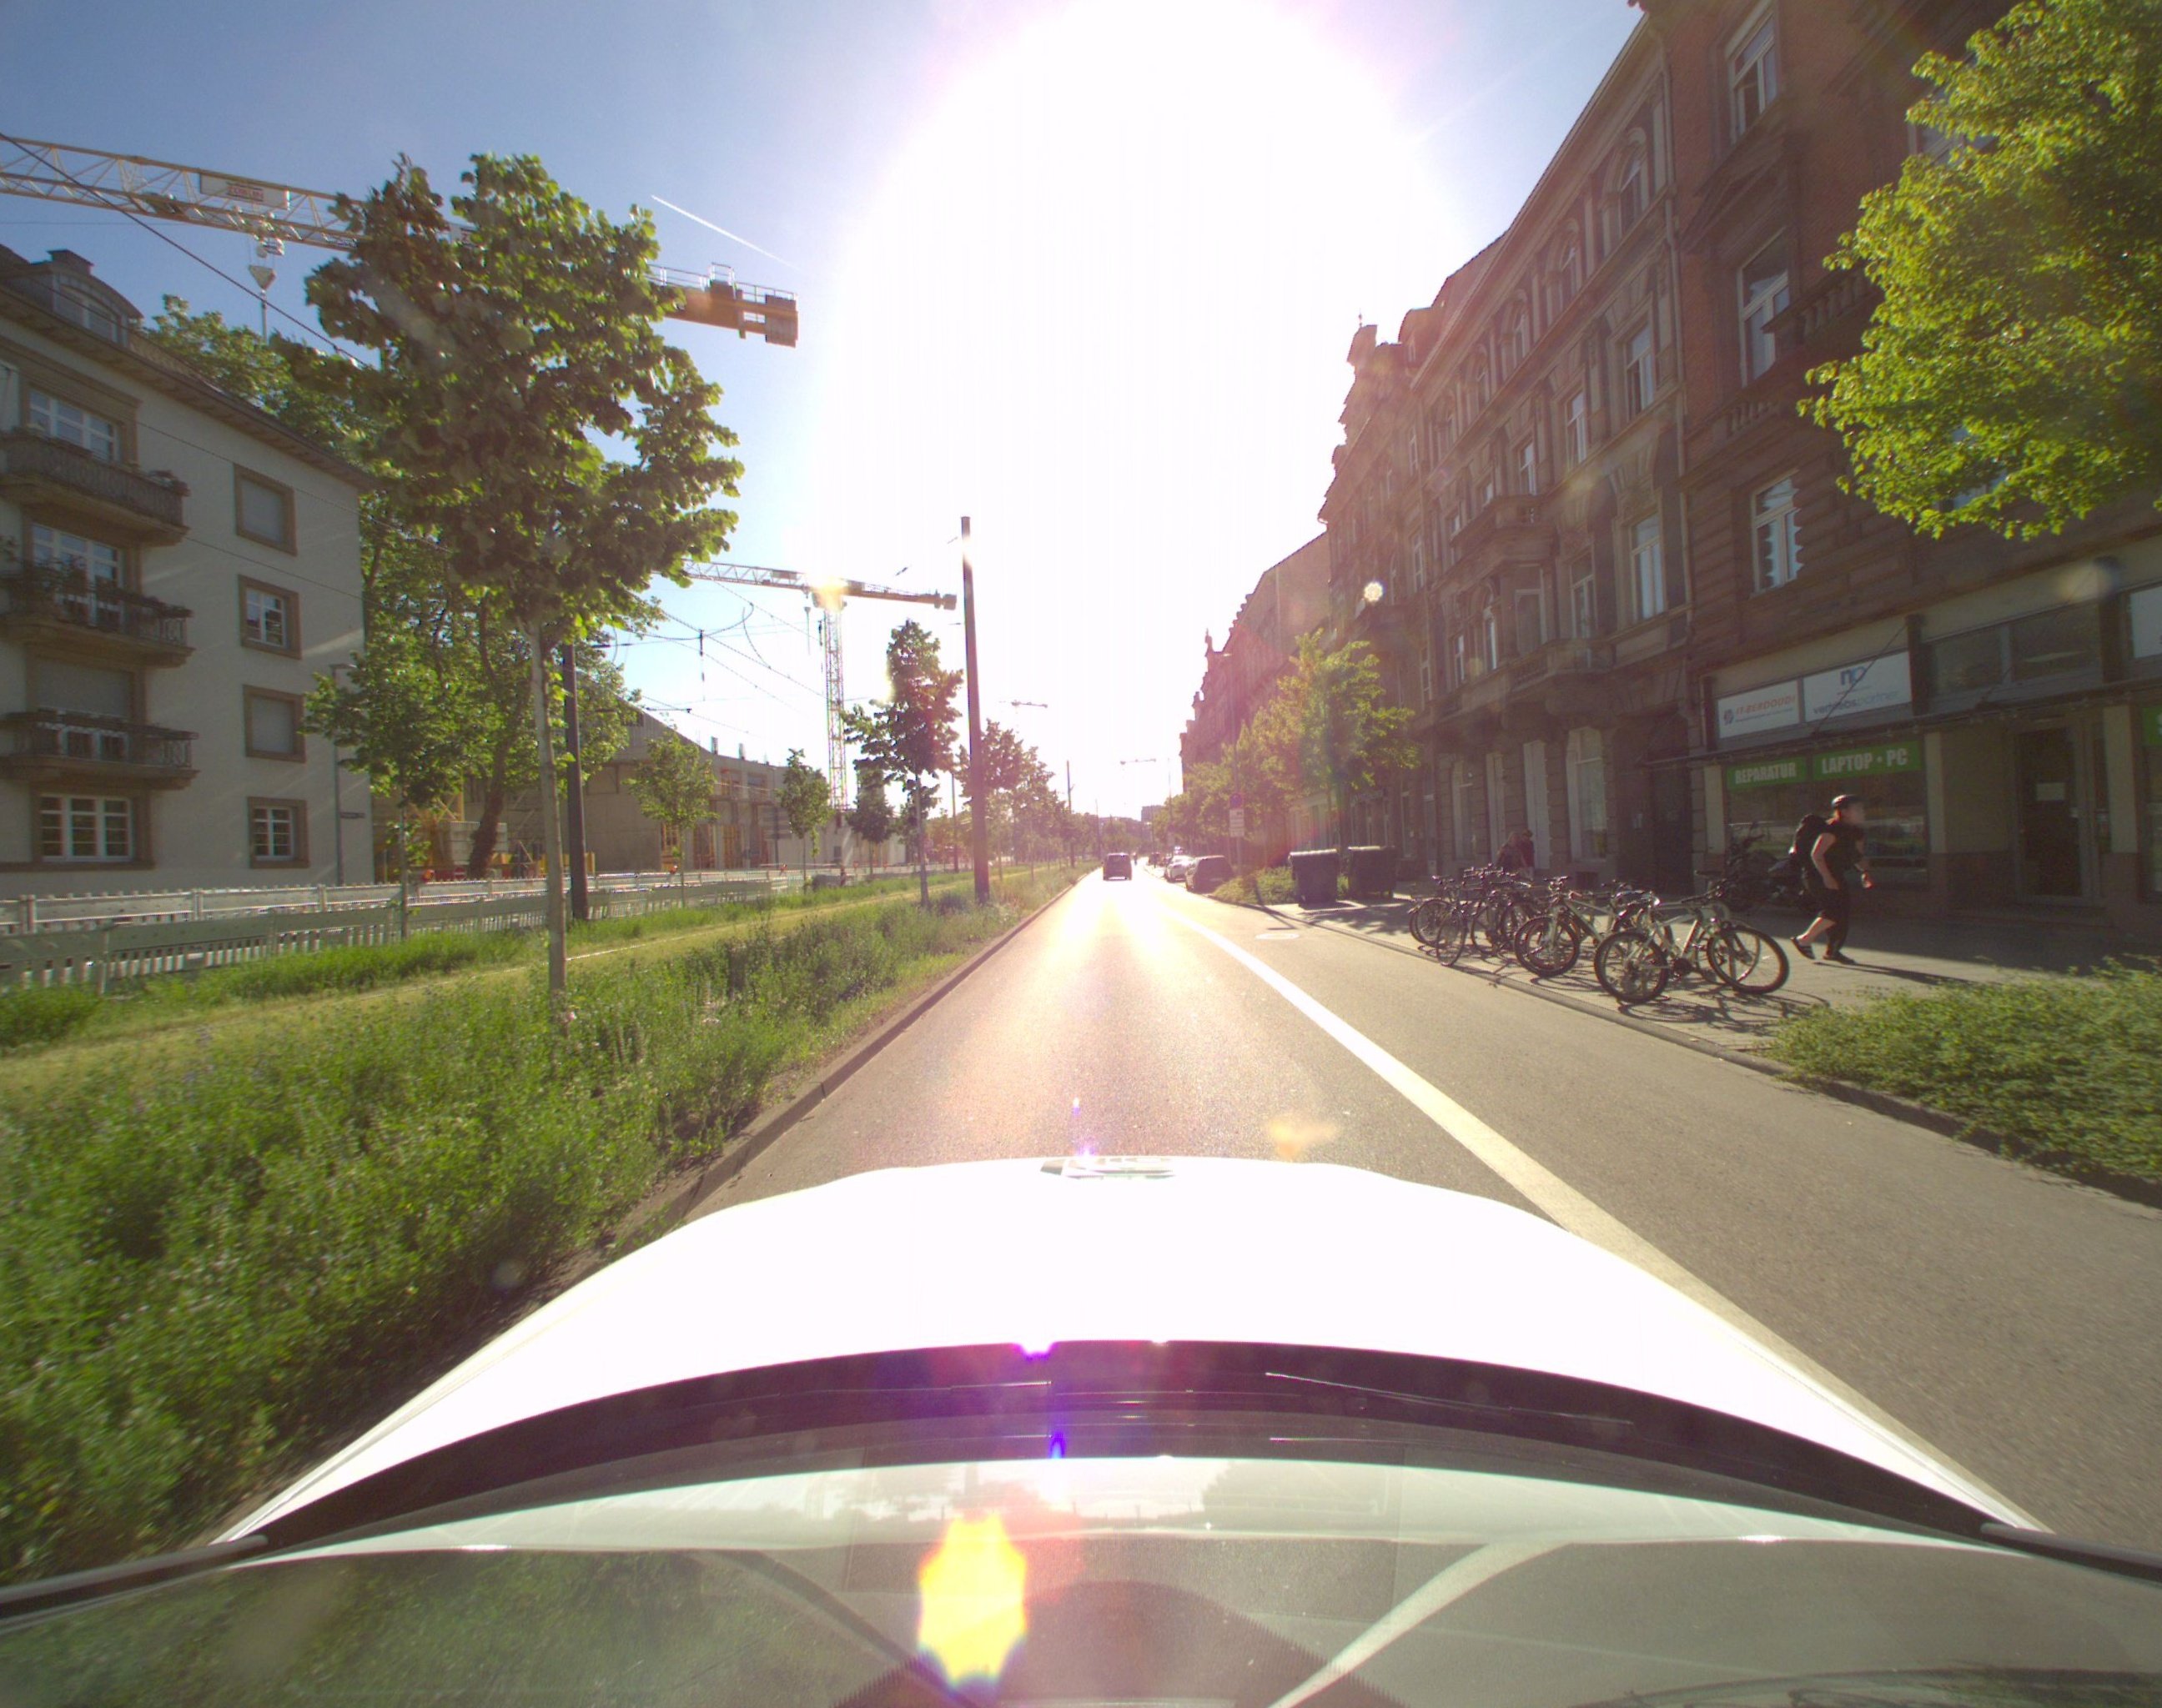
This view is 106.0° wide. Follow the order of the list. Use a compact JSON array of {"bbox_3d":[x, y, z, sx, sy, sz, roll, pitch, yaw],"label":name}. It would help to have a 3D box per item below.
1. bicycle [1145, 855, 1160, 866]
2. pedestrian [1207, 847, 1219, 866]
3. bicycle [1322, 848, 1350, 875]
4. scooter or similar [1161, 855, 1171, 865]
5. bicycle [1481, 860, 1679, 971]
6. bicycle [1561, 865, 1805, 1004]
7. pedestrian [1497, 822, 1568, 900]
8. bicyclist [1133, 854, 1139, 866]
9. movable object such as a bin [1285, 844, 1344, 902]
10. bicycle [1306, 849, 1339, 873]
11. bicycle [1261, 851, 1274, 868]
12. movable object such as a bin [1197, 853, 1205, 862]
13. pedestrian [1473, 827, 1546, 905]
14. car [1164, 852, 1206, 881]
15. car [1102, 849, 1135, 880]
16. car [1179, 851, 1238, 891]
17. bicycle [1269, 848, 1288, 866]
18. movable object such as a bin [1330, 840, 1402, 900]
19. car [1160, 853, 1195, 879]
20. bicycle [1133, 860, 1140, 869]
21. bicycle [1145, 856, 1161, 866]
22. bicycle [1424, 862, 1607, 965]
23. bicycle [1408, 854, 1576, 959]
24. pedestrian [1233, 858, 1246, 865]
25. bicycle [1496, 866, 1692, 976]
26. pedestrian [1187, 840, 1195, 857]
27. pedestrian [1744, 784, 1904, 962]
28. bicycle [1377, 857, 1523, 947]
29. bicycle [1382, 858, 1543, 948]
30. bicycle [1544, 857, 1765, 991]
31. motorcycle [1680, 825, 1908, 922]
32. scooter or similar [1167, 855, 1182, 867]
[{"bbox_3d":[9.277,0.808,105.666,1.875,1.233,0.499,-5,-1,-4],"label":"bicycle"},{"bbox_3d":[12.340,0.196,76.156,0.992,1.731,0.866,-2,-1,1],"label":"pedestrian"},{"bbox_3d":[11.808,0.343,37.752,0.745,1.201,1.801,-4,-1,2],"label":"bicycle"},{"bbox_3d":[10.750,0.730,102.770,1.214,1.106,0.784,-4,0,4],"label":"scooter or similar"},{"bbox_3d":[5.782,0.700,9.478,1.971,1.108,0.435,-4,-1,-1],"label":"bicycle"},{"bbox_3d":[5.634,0.726,7.663,1.887,1.108,0.517,-4,-1,-4],"label":"bicycle"},{"bbox_3d":[10.106,0.150,18.273,0.967,1.639,0.993,-4,0,2],"label":"pedestrian"},{"bbox_3d":[7.188,0.782,105.787,0.680,1.584,0.840,-2,0,2],"label":"bicyclist"},{"bbox_3d":[6.495,0.502,22.771,1.264,1.463,1.647,-3,1,6],"label":"movable object such as a bin"},{"bbox_3d":[12.097,0.345,40.813,0.873,1.104,2.181,-6,0,-1],"label":"bicycle"},{"bbox_3d":[12.880,0.359,56.285,0.479,1.090,2.058,-4,0,2],"label":"bicycle"},{"bbox_3d":[14.305,0.409,97.289,0.723,1.098,0.747,-2,0,-2],"label":"movable object such as a bin"},{"bbox_3d":[9.255,0.246,17.623,0.947,1.566,1.080,-4,1,1],"label":"pedestrian"},{"bbox_3d":[6.101,0.725,48.335,1.944,1.495,5.107,-4,0,2],"label":"car"},{"bbox_3d":[2.548,0.723,56.323,1.987,2.014,3.999,-2,-1,0],"label":"car"},{"bbox_3d":[5.503,0.726,35.632,1.760,1.477,4.447,-5,-1,-1],"label":"car"},{"bbox_3d":[12.570,0.207,51.946,0.718,1.090,2.200,-4,0,2],"label":"bicycle"},{"bbox_3d":[7.967,0.436,22.861,1.368,1.495,1.750,-5,-1,3],"label":"movable object such as a bin"},{"bbox_3d":[6.496,0.797,55.064,1.877,1.569,4.222,-5,-1,2],"label":"car"},{"bbox_3d":[7.191,1.325,105.611,0.698,1.091,2.278,-2,0,2],"label":"bicycle"},{"bbox_3d":[9.472,0.887,107.196,1.821,1.078,0.664,-6,-1,-4],"label":"bicycle"},{"bbox_3d":[5.676,0.749,10.646,2.287,1.102,0.484,-5,-1,-13],"label":"bicycle"},{"bbox_3d":[5.545,0.680,10.995,2.148,1.154,0.428,-6,0,-12],"label":"bicycle"},{"bbox_3d":[13.362,0.654,68.761,0.770,0.553,2.008,-3,0,2],"label":"pedestrian"},{"bbox_3d":[5.728,0.730,9.135,1.811,1.056,0.571,-4,-1,-4],"label":"bicycle"},{"bbox_3d":[13.585,-0.624,100.871,0.814,2.014,1.046,-2,-3,2],"label":"pedestrian"},{"bbox_3d":[7.891,0.195,8.668,0.852,1.735,0.894,-6,-1,-29],"label":"pedestrian"},{"bbox_3d":[5.644,0.718,12.485,1.971,1.124,0.481,-6,1,-4],"label":"bicycle"},{"bbox_3d":[5.636,0.709,12.077,2.040,1.107,0.610,-5,-1,-5],"label":"bicycle"},{"bbox_3d":[5.623,0.673,8.019,1.861,1.179,0.373,-3,-1,-1],"label":"bicycle"},{"bbox_3d":[10.570,0.278,12.311,0.862,1.266,2.982,-2,-1,2],"label":"motorcycle"},{"bbox_3d":[10.578,0.750,92.024,1.469,1.216,0.601,-5,1,-2],"label":"scooter or similar"}]
